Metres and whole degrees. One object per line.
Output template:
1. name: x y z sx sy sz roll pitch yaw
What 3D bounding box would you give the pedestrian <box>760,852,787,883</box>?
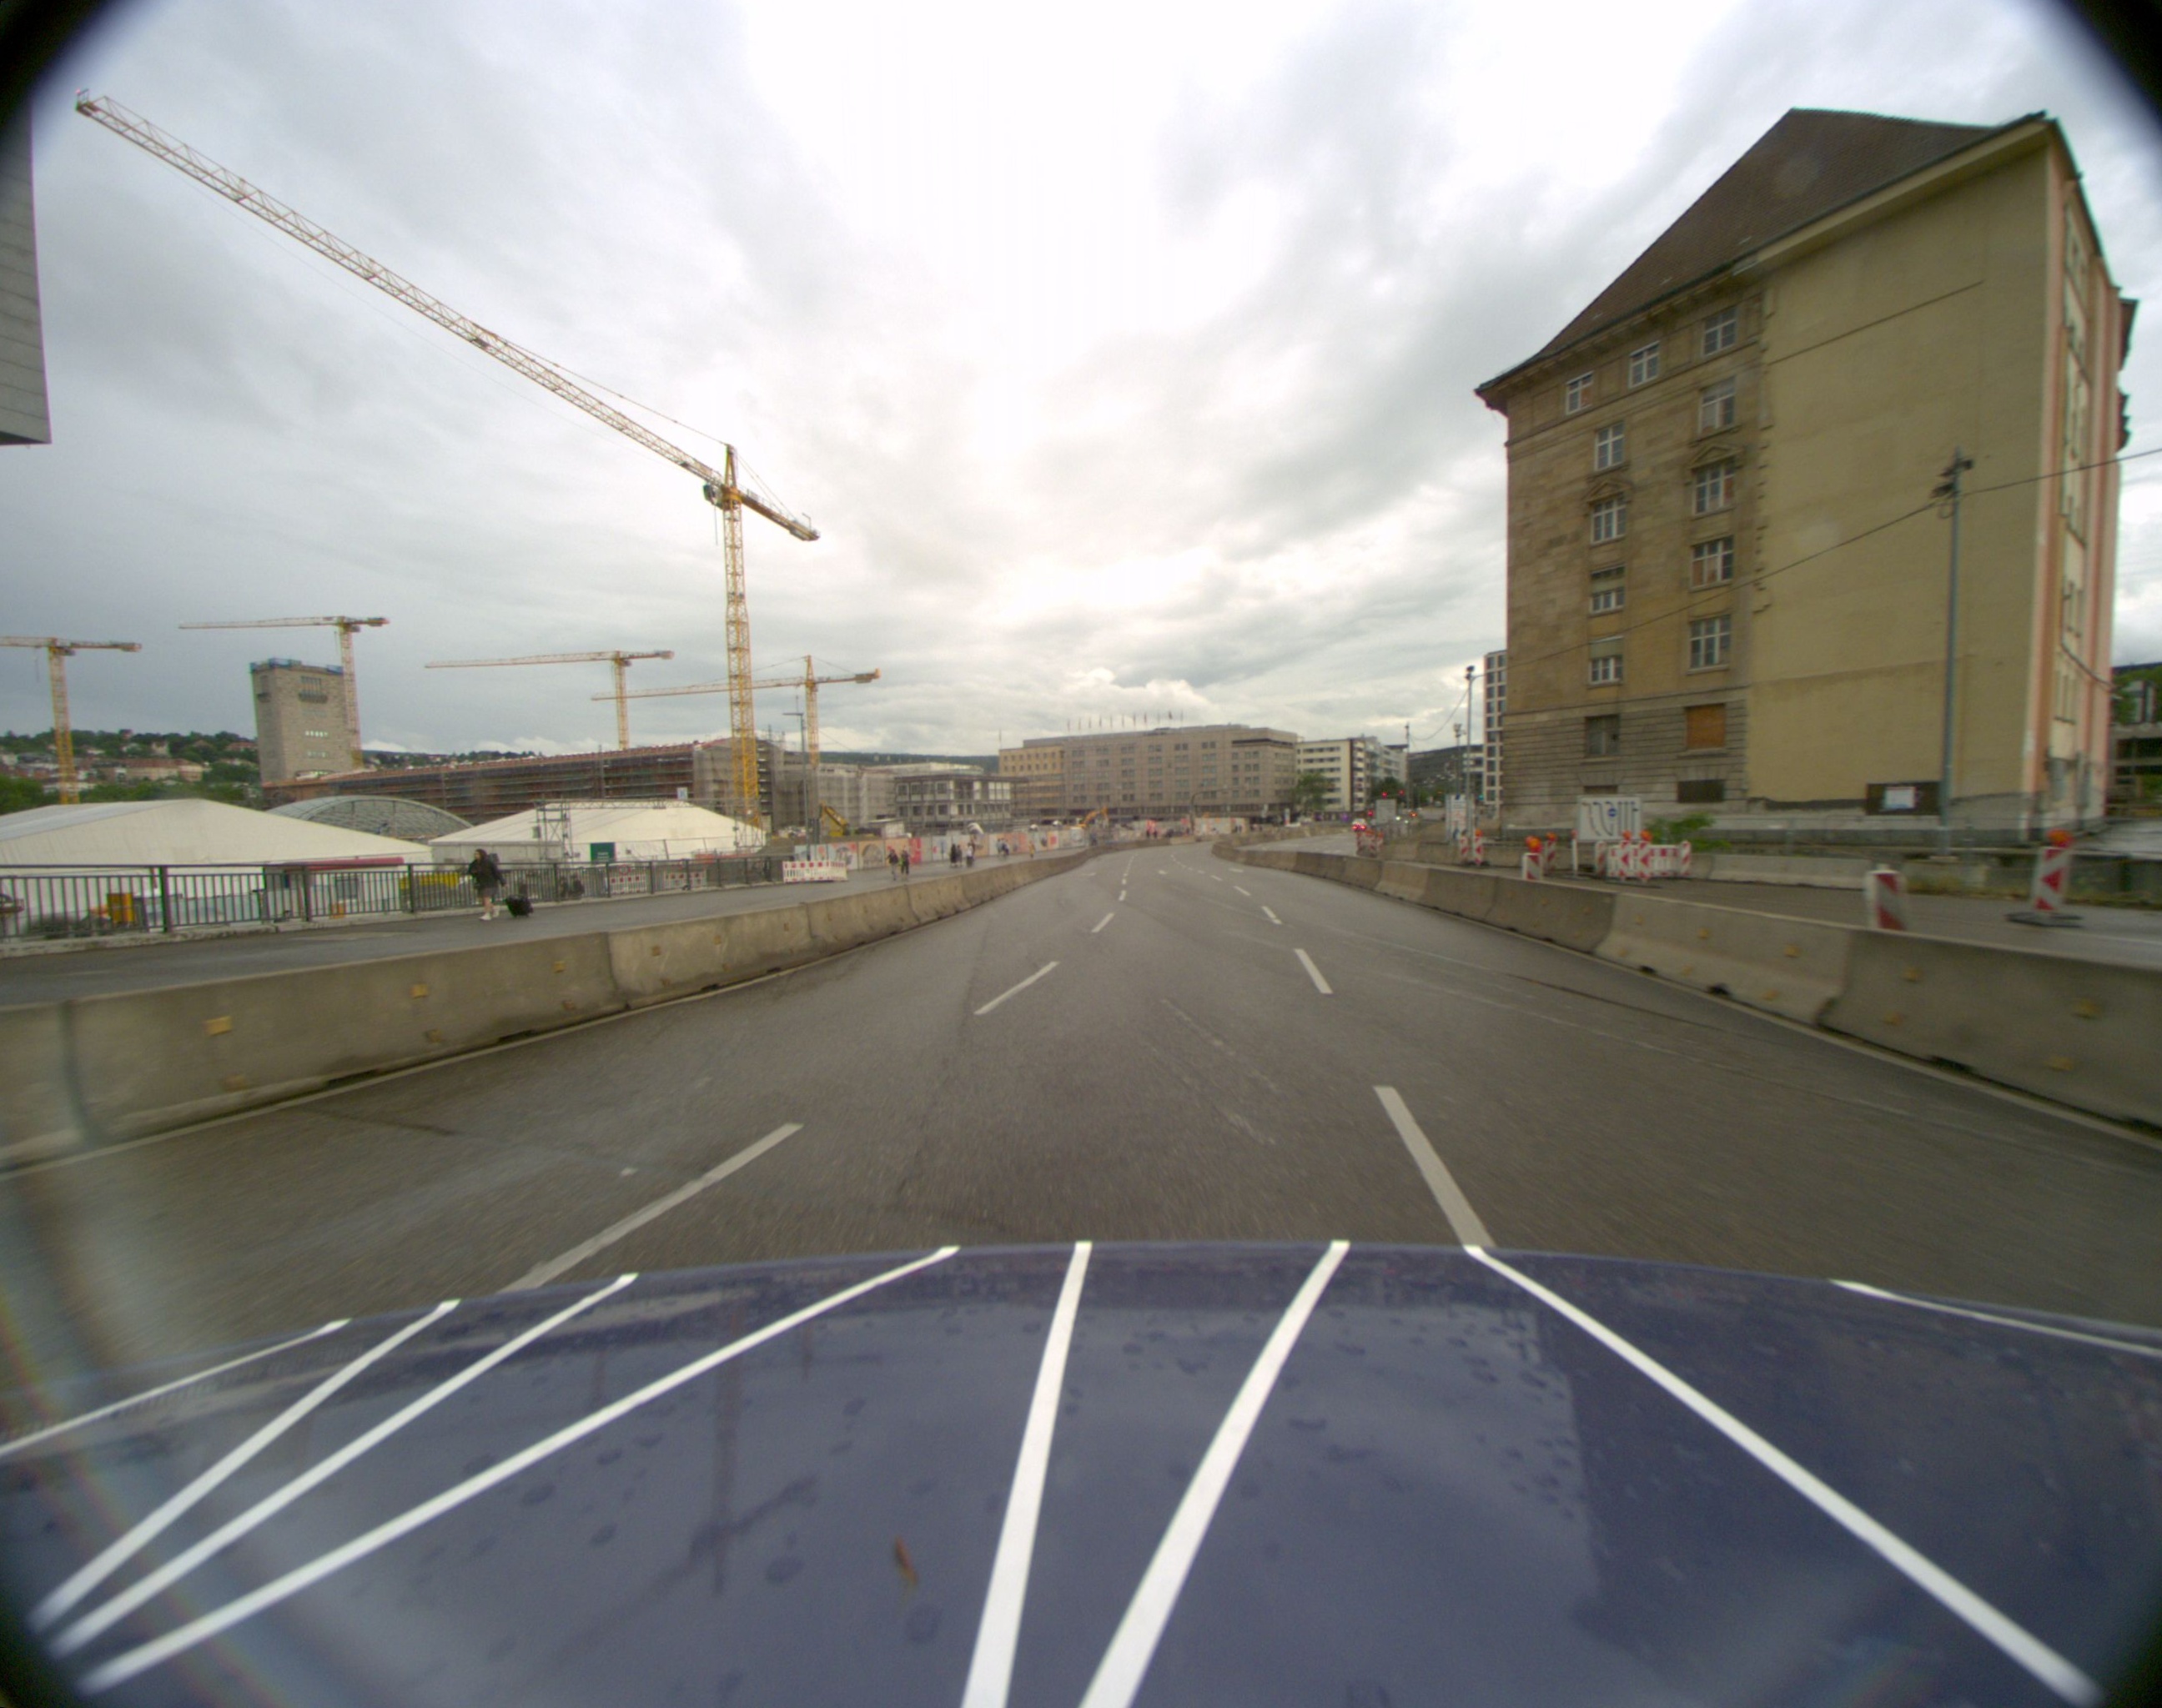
1. pedestrian: -17.678 0.776 43.681 0.866 1.716 1.010 1 4 33

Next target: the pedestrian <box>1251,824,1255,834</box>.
1. pedestrian: 31.883 -4.618 140.948 0.756 1.752 0.766 1 4 16

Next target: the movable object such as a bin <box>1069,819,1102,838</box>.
1. movable object such as a bin: 0.649 -3.580 106.344 4.134 2.522 1.995 -3 4 -30

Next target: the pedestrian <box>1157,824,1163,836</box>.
1. pedestrian: 10.781 -3.306 103.485 0.647 1.637 0.948 1 4 18

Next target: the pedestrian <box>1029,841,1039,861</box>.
1. pedestrian: -3.998 -0.232 64.247 0.648 1.624 0.907 -1 3 5

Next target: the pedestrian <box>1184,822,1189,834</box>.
1. pedestrian: 15.710 -3.868 113.136 0.585 1.699 0.677 1 4 16

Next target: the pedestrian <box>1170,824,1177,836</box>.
1. pedestrian: 13.344 -3.462 109.542 0.654 1.682 0.777 2 4 28

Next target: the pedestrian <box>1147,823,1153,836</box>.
1. pedestrian: 9.441 -3.366 103.690 0.647 1.734 0.766 1 4 18

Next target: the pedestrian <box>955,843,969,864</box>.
1. pedestrian: -8.931 -0.019 56.933 0.609 1.514 0.886 0 4 24

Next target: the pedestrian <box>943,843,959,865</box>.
1. pedestrian: -9.734 -0.002 56.914 0.715 1.545 1.009 0 4 24

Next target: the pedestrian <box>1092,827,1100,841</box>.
1. pedestrian: 1.708 -2.335 88.647 0.745 1.697 0.687 1 4 18

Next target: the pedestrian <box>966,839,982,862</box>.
1. pedestrian: -8.007 -0.256 56.984 0.778 1.713 0.892 0 4 24

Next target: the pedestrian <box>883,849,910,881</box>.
1. pedestrian: -9.403 0.547 38.734 0.861 1.585 0.954 0 4 32

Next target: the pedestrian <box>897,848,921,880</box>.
1. pedestrian: -8.710 0.520 38.401 0.732 1.566 0.806 -2 3 32

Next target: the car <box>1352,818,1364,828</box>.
1. car: 48.175 -5.379 132.133 1.768 1.513 4.392 0 3 24

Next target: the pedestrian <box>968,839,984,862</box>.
1. pedestrian: -8.581 -0.307 62.082 0.867 1.808 1.009 0 4 24

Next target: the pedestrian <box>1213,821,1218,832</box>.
1. pedestrian: 22.319 -4.559 125.897 0.648 1.660 0.766 1 4 16

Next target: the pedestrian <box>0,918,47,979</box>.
1. pedestrian: -33.978 3.025 24.333 0.642 1.806 0.754 -3 4 -26

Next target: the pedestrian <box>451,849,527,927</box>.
1. pedestrian: -13.125 0.725 16.864 0.730 1.643 1.062 0 3 32

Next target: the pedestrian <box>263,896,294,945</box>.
1. pedestrian: -27.873 2.305 26.389 0.704 1.607 0.567 1 4 37

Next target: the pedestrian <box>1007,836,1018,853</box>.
1. pedestrian: -6.244 -0.860 69.094 0.647 1.545 0.767 1 4 41

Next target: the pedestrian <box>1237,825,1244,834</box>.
1. pedestrian: 29.290 -4.475 139.377 1.097 1.752 0.907 2 4 31

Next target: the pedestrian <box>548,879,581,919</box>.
1. pedestrian: -22.967 1.990 33.791 0.698 1.628 0.917 1 4 33

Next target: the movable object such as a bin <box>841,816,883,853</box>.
1. movable object such as a bin: -20.710 -1.892 71.973 1.940 3.391 4.232 -1 3 12

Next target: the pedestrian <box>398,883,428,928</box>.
1. pedestrian: -25.812 1.994 29.369 0.753 1.628 0.586 -4 4 -37

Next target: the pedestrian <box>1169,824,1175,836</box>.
1. pedestrian: 12.757 -3.414 106.537 0.654 1.682 0.777 2 4 28

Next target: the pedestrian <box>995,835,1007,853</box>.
1. pedestrian: -7.301 -0.901 69.111 0.647 1.646 0.767 1 4 41

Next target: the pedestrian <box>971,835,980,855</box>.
1. pedestrian: -9.330 -0.788 67.412 0.567 1.739 0.495 0 4 23

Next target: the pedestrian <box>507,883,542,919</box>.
1. pedestrian: -26.106 2.196 35.633 0.866 1.545 1.010 0 4 33

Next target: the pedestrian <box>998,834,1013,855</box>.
1. pedestrian: -6.660 -0.831 66.872 0.818 1.839 0.933 1 4 41

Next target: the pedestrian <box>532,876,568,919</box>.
1. pedestrian: -23.837 1.936 34.101 0.771 1.774 1.010 1 4 33

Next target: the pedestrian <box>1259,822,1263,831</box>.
1. pedestrian: 34.986 -5.346 147.544 0.652 1.752 0.549 1 4 16

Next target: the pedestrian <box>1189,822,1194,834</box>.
1. pedestrian: 16.873 -4.011 115.985 0.648 1.752 0.584 1 4 16

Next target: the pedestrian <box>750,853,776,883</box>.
1. pedestrian: -18.527 0.783 44.239 0.866 1.680 1.010 1 4 33

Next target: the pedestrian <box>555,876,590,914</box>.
1. pedestrian: -23.752 1.894 35.502 0.866 1.628 1.010 0 4 33
